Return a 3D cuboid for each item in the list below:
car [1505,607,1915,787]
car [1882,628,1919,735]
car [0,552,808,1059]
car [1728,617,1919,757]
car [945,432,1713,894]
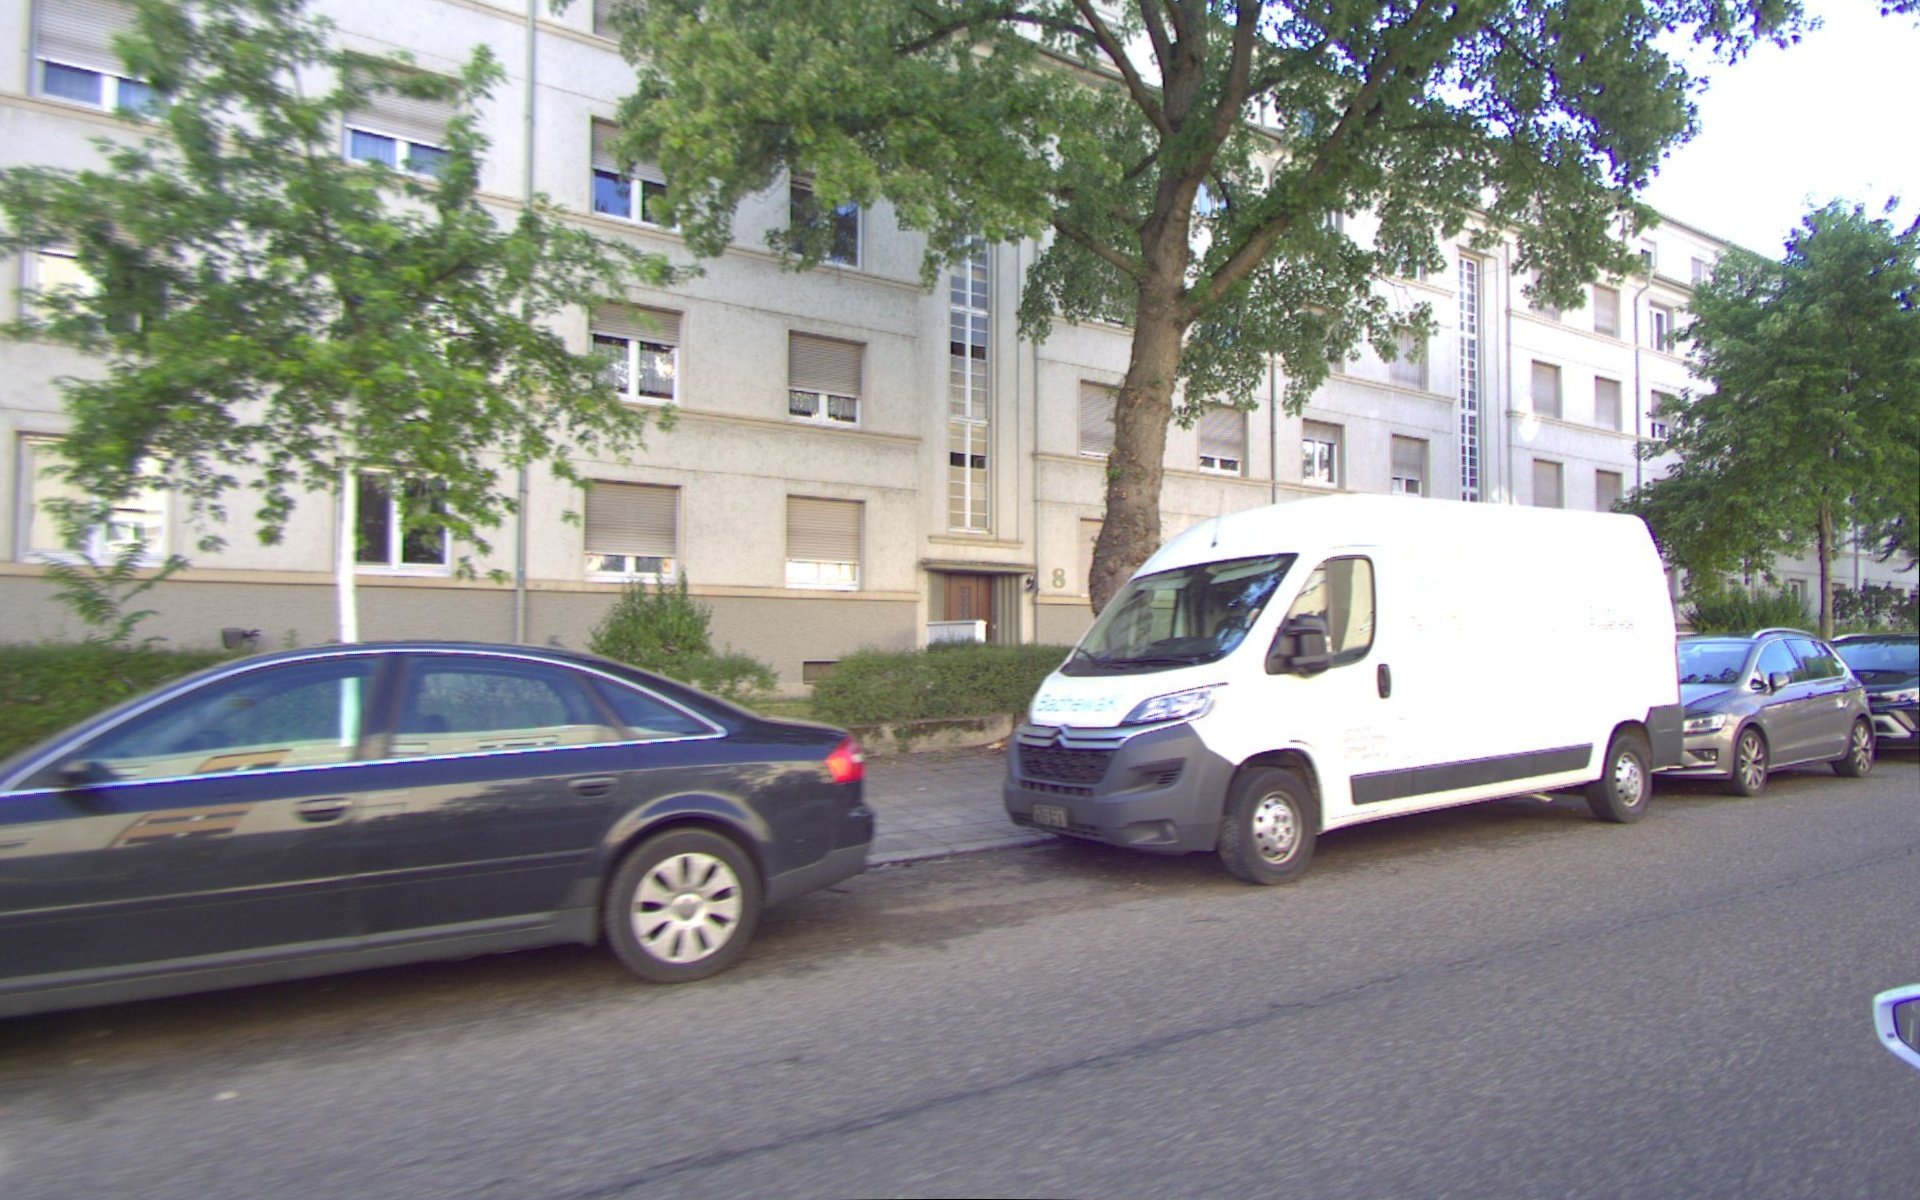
[{"bbox_3d":[8.088,1.023,10.787,4.295,1.578,1.949,3,-6,-30],"label":"car"},{"bbox_3d":[16.678,1.184,15.695,4.997,1.578,1.863,1,-6,-31],"label":"car"},{"bbox_3d":[-2.727,0.731,4.308,3.770,1.594,1.702,2,-5,-27],"label":"car"},{"bbox_3d":[12.368,1.096,13.416,4.315,1.579,1.862,3,-1,-30],"label":"car"},{"bbox_3d":[3.108,0.496,7.957,6.092,2.477,2.348,3,-3,-30],"label":"car"}]
